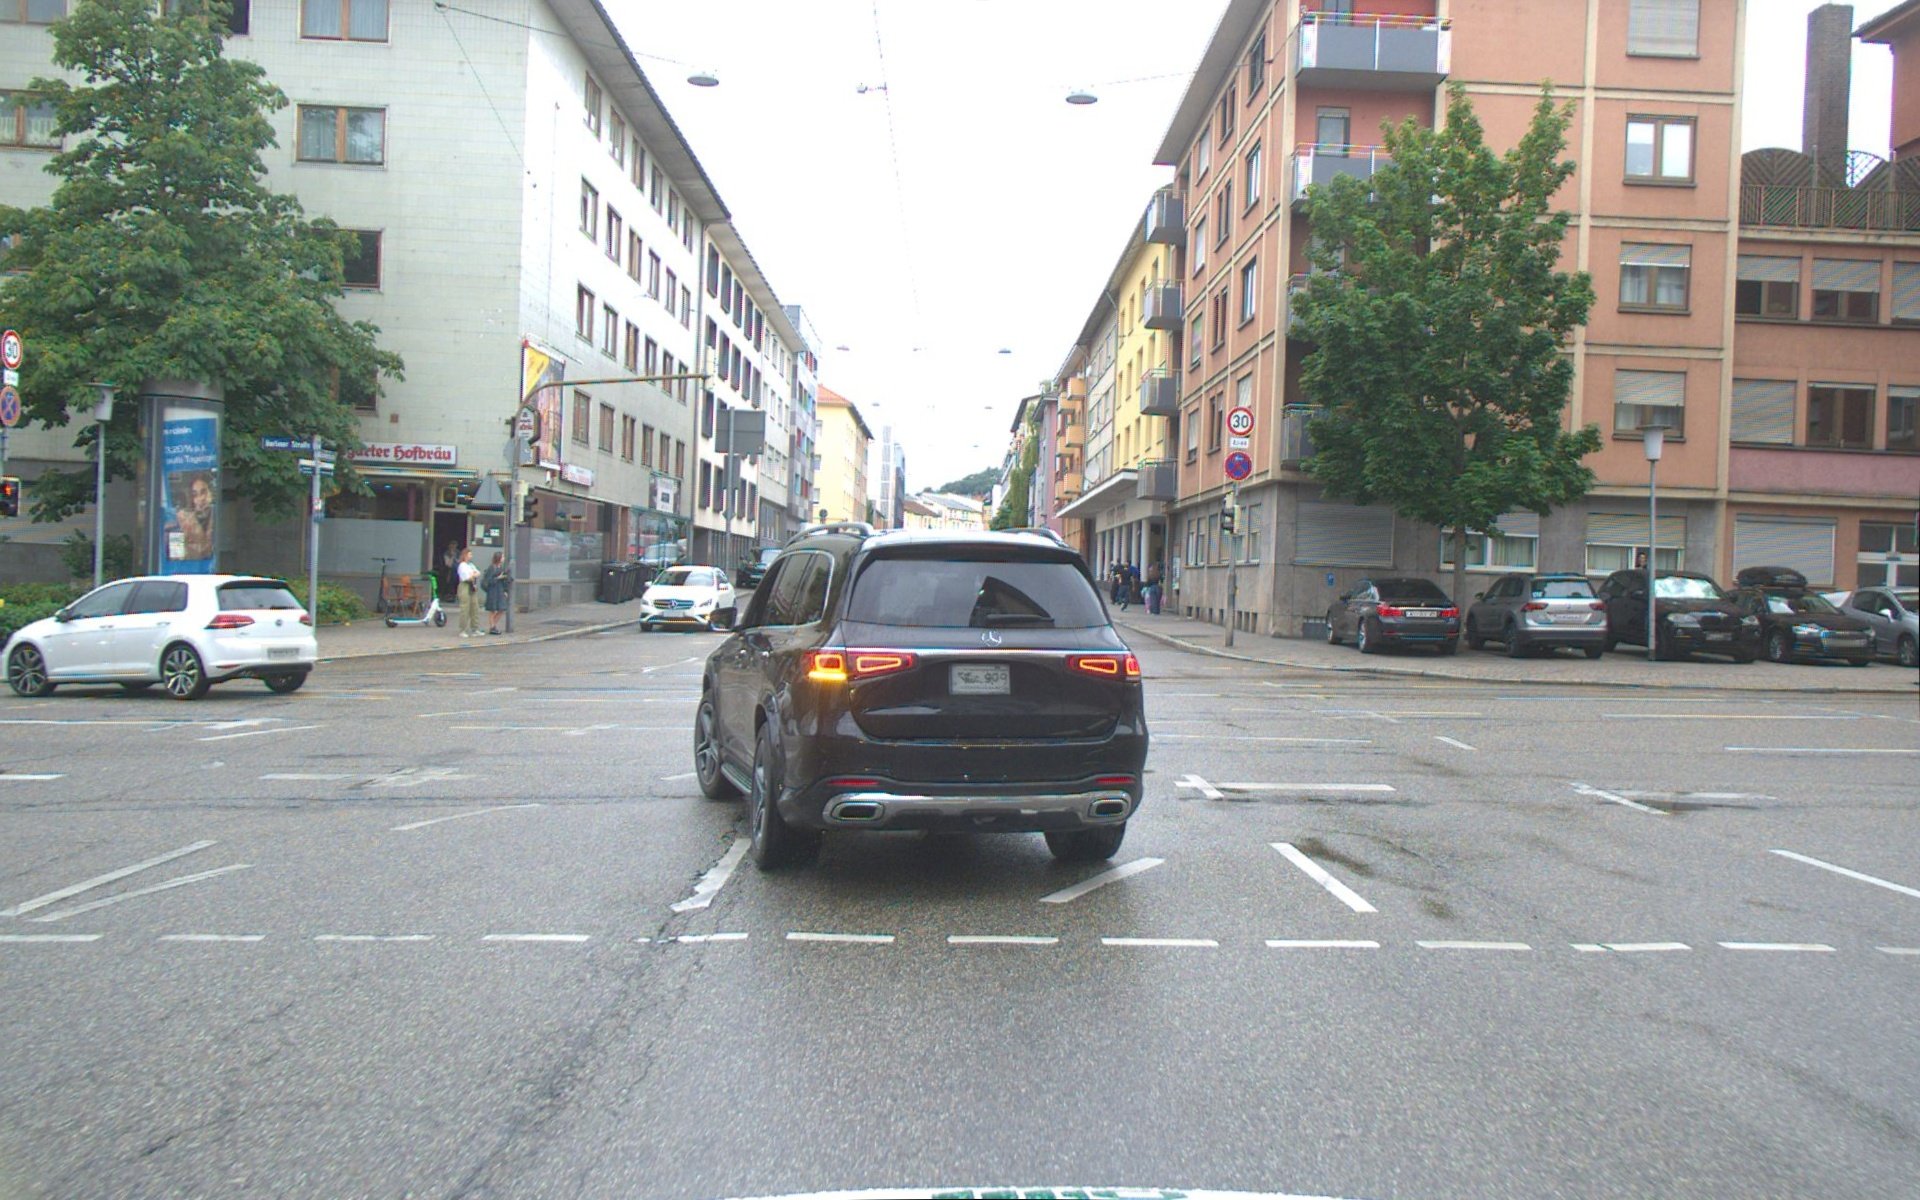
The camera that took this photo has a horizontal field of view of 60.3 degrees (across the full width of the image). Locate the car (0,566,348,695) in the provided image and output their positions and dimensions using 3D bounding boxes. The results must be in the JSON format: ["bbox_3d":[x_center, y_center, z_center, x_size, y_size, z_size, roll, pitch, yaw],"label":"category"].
[{"bbox_3d":[-10.002,0.373,20.770,4.277,1.487,1.835,-1,0,24],"label":"car"}]

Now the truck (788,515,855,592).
[{"bbox_3d":[-7.811,-2.556,94.461,2.750,3.899,8.145,3,-1,1],"label":"truck"}]

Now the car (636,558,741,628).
[{"bbox_3d":[-6.347,-0.179,39.000,1.806,1.539,4.000,1,1,0],"label":"car"}]

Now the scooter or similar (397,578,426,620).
[{"bbox_3d":[-11.917,-0.031,35.927,0.452,0.857,1.313,4,-1,-23],"label":"scooter or similar"}]

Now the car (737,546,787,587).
[{"bbox_3d":[-8.345,-1.402,70.005,1.689,1.631,3.999,1,0,-1],"label":"car"}]

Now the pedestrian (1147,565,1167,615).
[{"bbox_3d":[6.496,-0.326,54.538,0.469,1.593,0.558,3,3,0],"label":"pedestrian"}]

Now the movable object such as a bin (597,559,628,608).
[{"bbox_3d":[-9.960,-0.470,47.428,0.683,1.338,0.782,3,-1,-2],"label":"movable object such as a bin"}]

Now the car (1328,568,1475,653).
[{"bbox_3d":[8.972,0.179,34.027,1.806,1.581,4.797,1,1,1],"label":"car"}]

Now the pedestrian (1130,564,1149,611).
[{"bbox_3d":[6.253,-0.439,57.610,0.509,1.544,0.569,3,3,0],"label":"pedestrian"}]

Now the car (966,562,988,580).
[{"bbox_3d":[1.687,-2.913,165.191,1.974,1.590,4.001,3,-1,2],"label":"car"}]

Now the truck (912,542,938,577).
[{"bbox_3d":[-4.381,-5.077,208.809,2.750,3.899,8.145,3,-1,1],"label":"truck"}]

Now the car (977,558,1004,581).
[{"bbox_3d":[2.432,-2.382,131.097,1.974,1.590,4.001,3,-1,2],"label":"car"}]

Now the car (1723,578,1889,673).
[{"bbox_3d":[17.035,0.472,33.530,1.756,1.727,4.003,3,1,9],"label":"car"}]

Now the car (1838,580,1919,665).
[{"bbox_3d":[19.381,0.491,33.111,1.634,1.609,4.002,3,-1,4],"label":"car"}]

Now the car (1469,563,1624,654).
[{"bbox_3d":[11.762,0.146,33.457,1.945,1.689,4.002,1,1,4],"label":"car"}]

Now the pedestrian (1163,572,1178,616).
[{"bbox_3d":[6.934,-0.198,54.582,0.356,1.422,0.370,3,3,0],"label":"pedestrian"}]

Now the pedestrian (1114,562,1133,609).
[{"bbox_3d":[5.700,-0.504,57.582,0.509,1.565,0.569,3,3,0],"label":"pedestrian"}]

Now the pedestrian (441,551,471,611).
[{"bbox_3d":[-12.289,-0.453,40.333,0.508,1.424,0.578,3,-1,-4],"label":"pedestrian"}]

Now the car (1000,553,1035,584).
[{"bbox_3d":[3.433,-1.881,99.151,1.974,1.590,5.156,3,-1,2],"label":"car"}]

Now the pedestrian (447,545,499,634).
[{"bbox_3d":[-9.613,-0.204,32.637,0.702,1.675,0.749,2,3,-37],"label":"pedestrian"}]

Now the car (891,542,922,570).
[{"bbox_3d":[-3.445,-2.826,107.062,1.806,1.703,4.000,1,0,0],"label":"car"}]

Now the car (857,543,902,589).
[{"bbox_3d":[-4.186,-1.731,86.210,2.022,2.280,4.620,1,0,1],"label":"car"}]

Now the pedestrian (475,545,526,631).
[{"bbox_3d":[-9.298,-0.247,33.486,0.702,1.675,0.749,2,3,-37],"label":"pedestrian"}]

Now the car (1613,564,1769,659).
[{"bbox_3d":[14.479,0.212,32.991,1.944,1.749,4.003,1,0,10],"label":"car"}]

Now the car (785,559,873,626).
[{"bbox_3d":[-3.128,-0.192,40.165,1.806,1.515,4.000,1,1,0],"label":"car"}]

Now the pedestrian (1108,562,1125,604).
[{"bbox_3d":[6.051,-0.660,64.139,0.509,1.582,0.569,3,3,0],"label":"pedestrian"}]

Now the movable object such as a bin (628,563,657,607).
[{"bbox_3d":[-9.997,-0.461,52.070,0.683,1.338,0.782,3,-1,-2],"label":"movable object such as a bin"}]

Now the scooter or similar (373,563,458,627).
[{"bbox_3d":[-11.218,-0.103,34.108,1.540,1.211,0.496,4,-1,-30],"label":"scooter or similar"}]

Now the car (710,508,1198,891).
[{"bbox_3d":[-0.341,0.483,10.183,1.986,1.770,4.731,2,0,-13],"label":"car"}]
